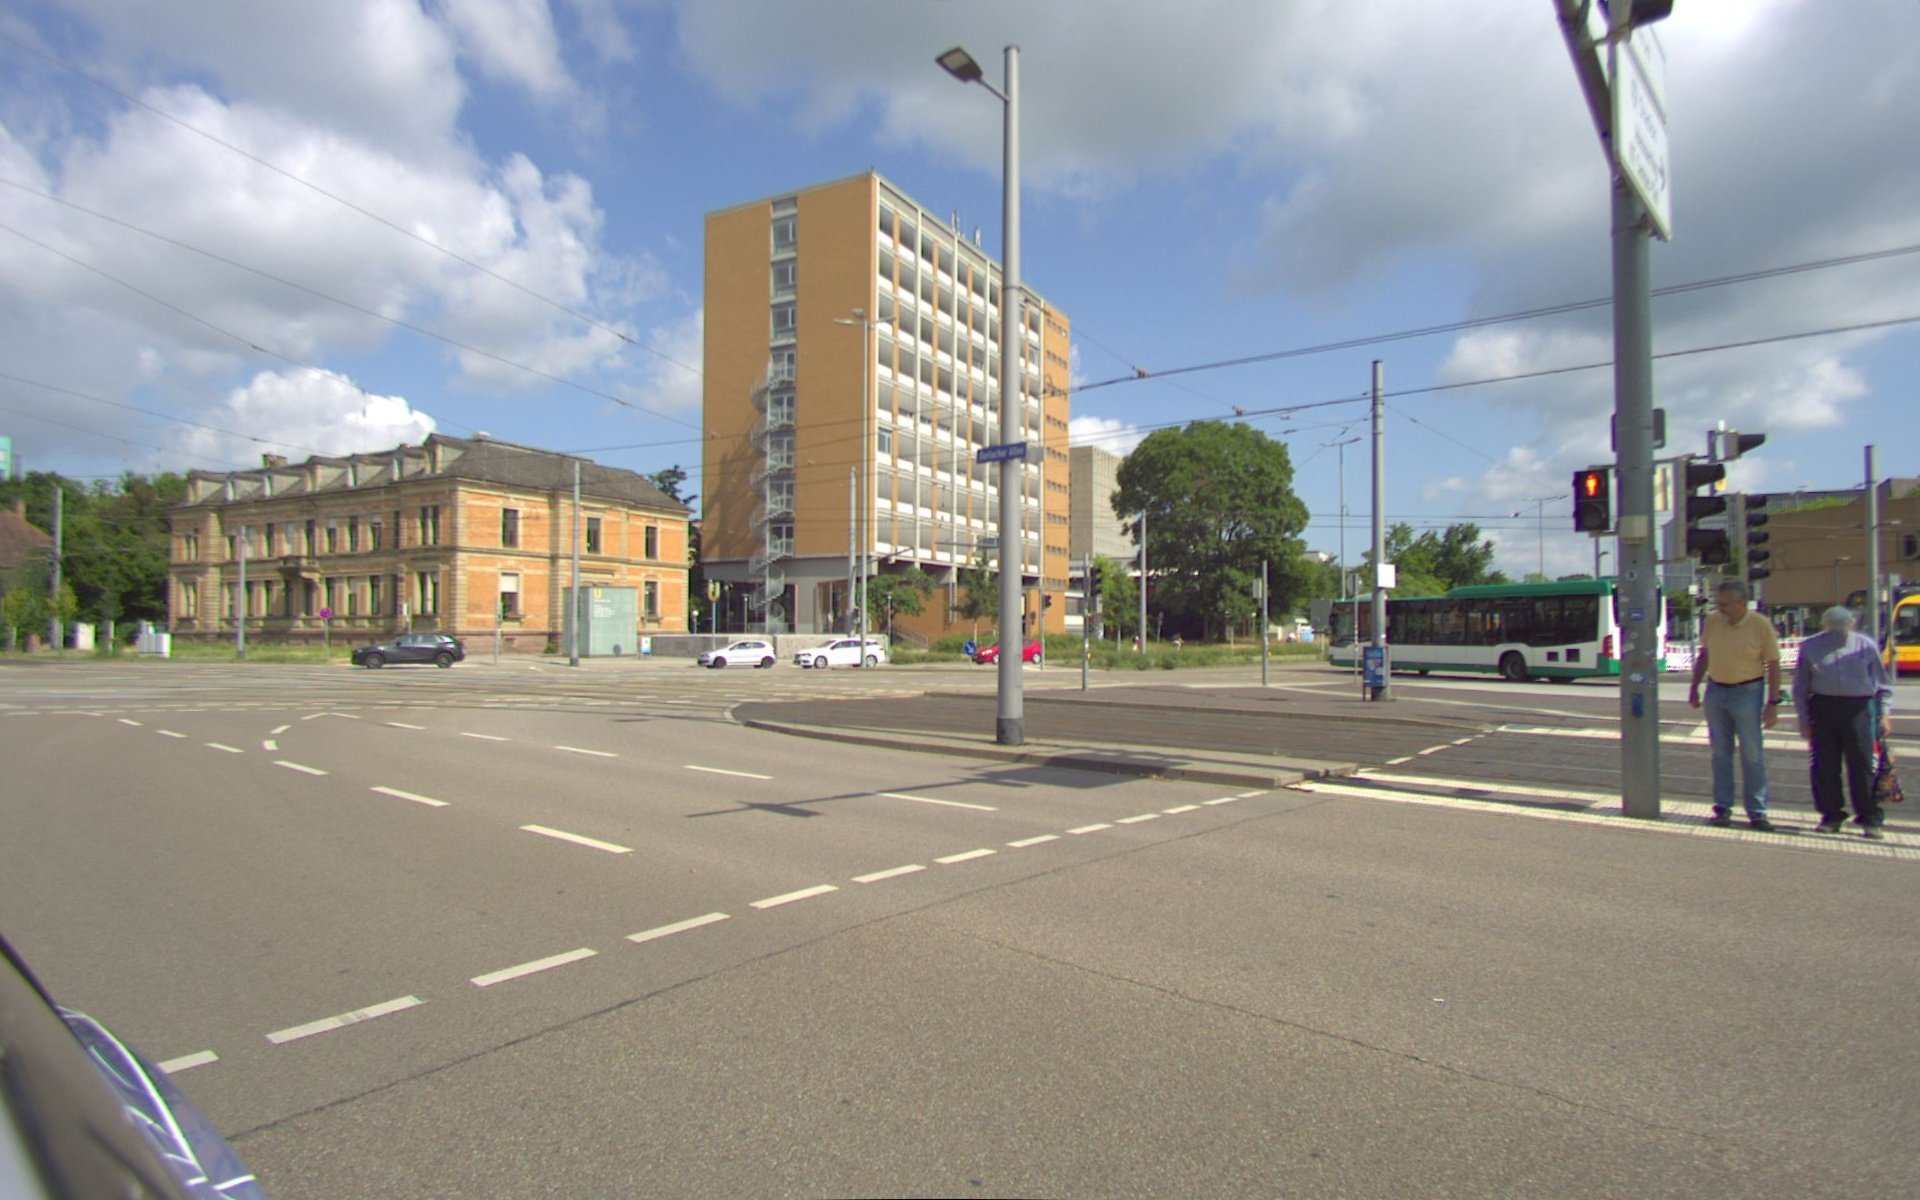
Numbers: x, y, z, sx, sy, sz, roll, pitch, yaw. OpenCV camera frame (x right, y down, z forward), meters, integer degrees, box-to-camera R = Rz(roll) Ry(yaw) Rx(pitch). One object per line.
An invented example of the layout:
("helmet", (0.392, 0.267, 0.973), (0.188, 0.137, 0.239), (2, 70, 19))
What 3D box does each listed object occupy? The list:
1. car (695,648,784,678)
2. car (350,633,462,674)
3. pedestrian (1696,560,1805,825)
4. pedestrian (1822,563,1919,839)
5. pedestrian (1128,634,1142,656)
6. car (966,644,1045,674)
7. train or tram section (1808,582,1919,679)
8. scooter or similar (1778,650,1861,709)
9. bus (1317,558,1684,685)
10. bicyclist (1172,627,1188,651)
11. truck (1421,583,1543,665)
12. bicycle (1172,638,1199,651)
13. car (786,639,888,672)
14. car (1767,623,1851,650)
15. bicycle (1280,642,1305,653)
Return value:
("car", (-10.978, 3.132, 50.415), (4.009, 1.396, 1.593), (0, -4, -33))
("car", (-23.680, 2.297, 43.439), (4.139, 1.588, 1.652), (0, -4, -26))
("pedestrian", (6.321, 0.719, 8.114), (0.576, 2.029, 0.422), (-1, -3, 30))
("pedestrian", (7.033, 0.750, 7.746), (0.513, 2.029, 0.498), (-1, -3, 30))
("pedestrian", (12.746, 3.238, 73.547), (0.947, 1.590, 0.766), (-1, -2, 12))
("car", (2.478, 3.165, 54.532), (3.997, 1.479, 1.651), (0, -4, -34))
("train or tram section", (39.047, 1.071, 38.818), (10.447, 3.507, 3.327), (-2, -3, -5))
("scooter or similar", (17.913, 1.646, 21.124), (1.164, 1.175, 0.804), (-1, -3, 32))
("bus", (18.006, 0.833, 35.504), (2.865, 3.648, 12.417), (1, -2, -21))
("bicyclist", (15.778, 2.814, 72.671), (0.921, 1.684, 0.581), (0, -1, -19))
("truck", (27.788, 1.319, 53.721), (7.944, 4.039, 2.842), (2, -3, -40))
("bicycle", (16.217, 3.168, 72.731), (1.778, 0.881, 0.763), (1, 0, -19))
("car", (-5.978, 2.699, 49.454), (4.595, 1.440, 1.768), (0, -4, -32))
("car", (58.905, 2.541, 70.307), (1.967, 1.796, 4.010), (0, -2, -13))
("bicycle", (27.825, 3.948, 84.709), (2.237, 0.904, 0.655), (1, -2, -32))
